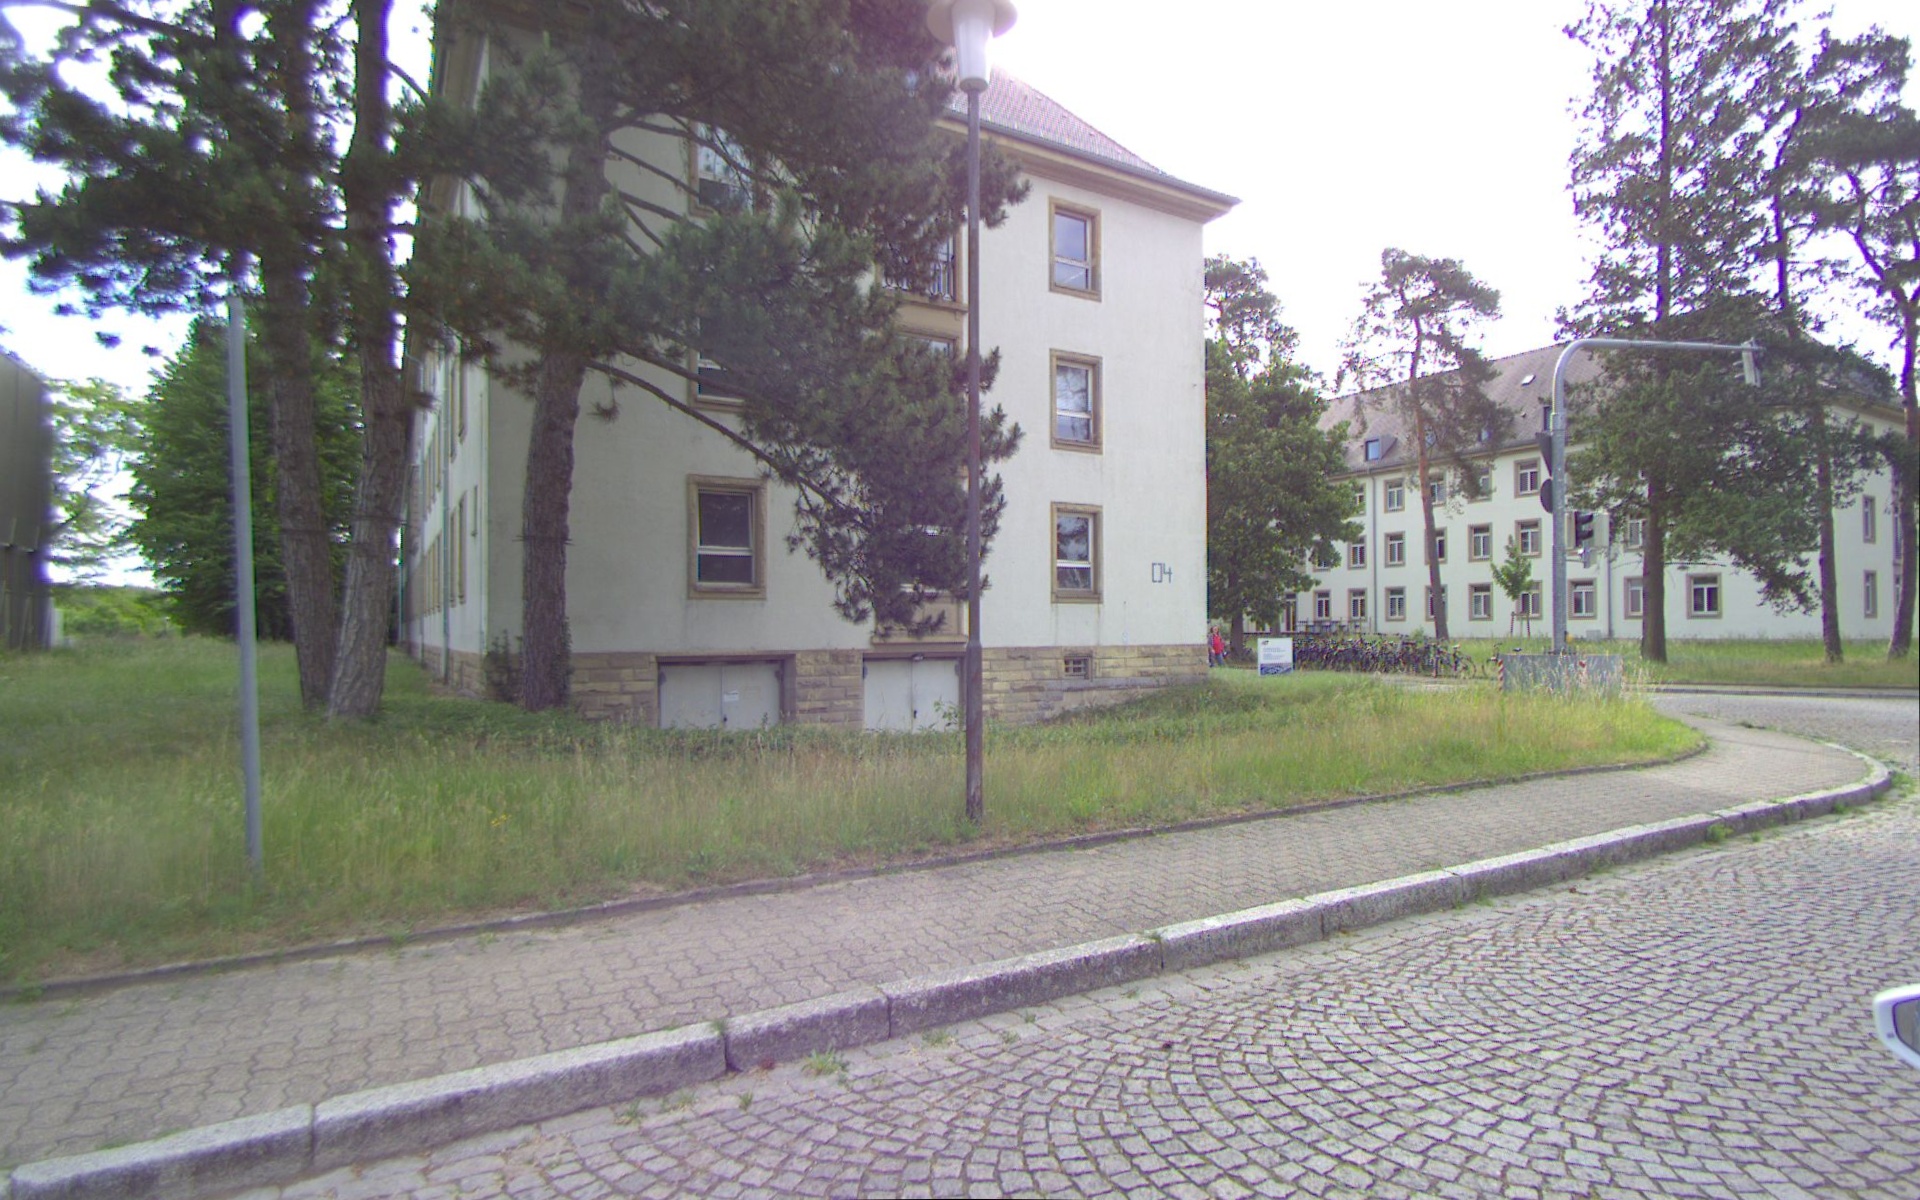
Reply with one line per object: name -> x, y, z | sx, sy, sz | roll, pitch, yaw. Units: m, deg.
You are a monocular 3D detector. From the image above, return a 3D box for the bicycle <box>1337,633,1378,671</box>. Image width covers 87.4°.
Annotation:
bicycle -> 13.970, 1.799, 35.266 | 1.677, 1.300, 0.446 | 1, -2, -33

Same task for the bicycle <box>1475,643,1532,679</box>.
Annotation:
bicycle -> 15.841, 1.762, 29.318 | 0.447, 1.009, 1.453 | 1, -2, -29

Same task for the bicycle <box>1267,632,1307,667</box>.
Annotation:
bicycle -> 12.390, 1.873, 38.048 | 1.766, 1.300, 0.440 | 1, -2, -33

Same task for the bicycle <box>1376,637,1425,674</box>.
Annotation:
bicycle -> 14.812, 1.842, 33.779 | 1.909, 1.193, 0.524 | 1, -2, -33

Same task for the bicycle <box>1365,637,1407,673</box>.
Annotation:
bicycle -> 14.505, 1.856, 34.189 | 1.677, 1.193, 0.446 | 1, -2, -33

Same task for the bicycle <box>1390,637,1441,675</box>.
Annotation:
bicycle -> 15.071, 1.838, 33.253 | 1.933, 1.193, 0.572 | 1, -2, -33

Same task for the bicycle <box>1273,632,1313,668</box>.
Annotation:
bicycle -> 12.462, 1.865, 37.540 | 1.677, 1.300, 0.446 | 1, -2, -33

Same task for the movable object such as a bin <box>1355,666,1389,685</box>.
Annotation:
movable object such as a bin -> 11.463, 2.097, 27.952 | 0.439, 0.510, 0.746 | 1, -2, -30

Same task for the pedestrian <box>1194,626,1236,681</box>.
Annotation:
pedestrian -> 7.915, 1.647, 31.212 | 0.929, 1.690, 0.855 | 1, -1, -31

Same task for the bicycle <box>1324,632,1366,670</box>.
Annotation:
bicycle -> 13.680, 1.801, 35.679 | 1.677, 1.300, 0.446 | 1, -2, -33

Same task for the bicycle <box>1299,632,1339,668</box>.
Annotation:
bicycle -> 13.078, 1.806, 36.571 | 1.677, 1.300, 0.446 | 1, -2, -33

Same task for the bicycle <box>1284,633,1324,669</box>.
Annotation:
bicycle -> 12.719, 1.863, 37.128 | 1.677, 1.300, 0.446 | 1, -2, -33

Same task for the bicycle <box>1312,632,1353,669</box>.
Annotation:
bicycle -> 13.383, 1.803, 36.099 | 1.677, 1.300, 0.446 | 1, -2, -33

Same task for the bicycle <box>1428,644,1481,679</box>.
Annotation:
bicycle -> 15.050, 1.864, 30.618 | 0.447, 1.009, 1.453 | 1, -2, -29

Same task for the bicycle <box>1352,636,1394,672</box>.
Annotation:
bicycle -> 14.242, 1.846, 34.596 | 1.677, 1.193, 0.446 | 1, -2, -33

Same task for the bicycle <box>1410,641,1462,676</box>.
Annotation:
bicycle -> 15.501, 1.902, 32.704 | 1.975, 1.092, 0.572 | 1, -2, -33
